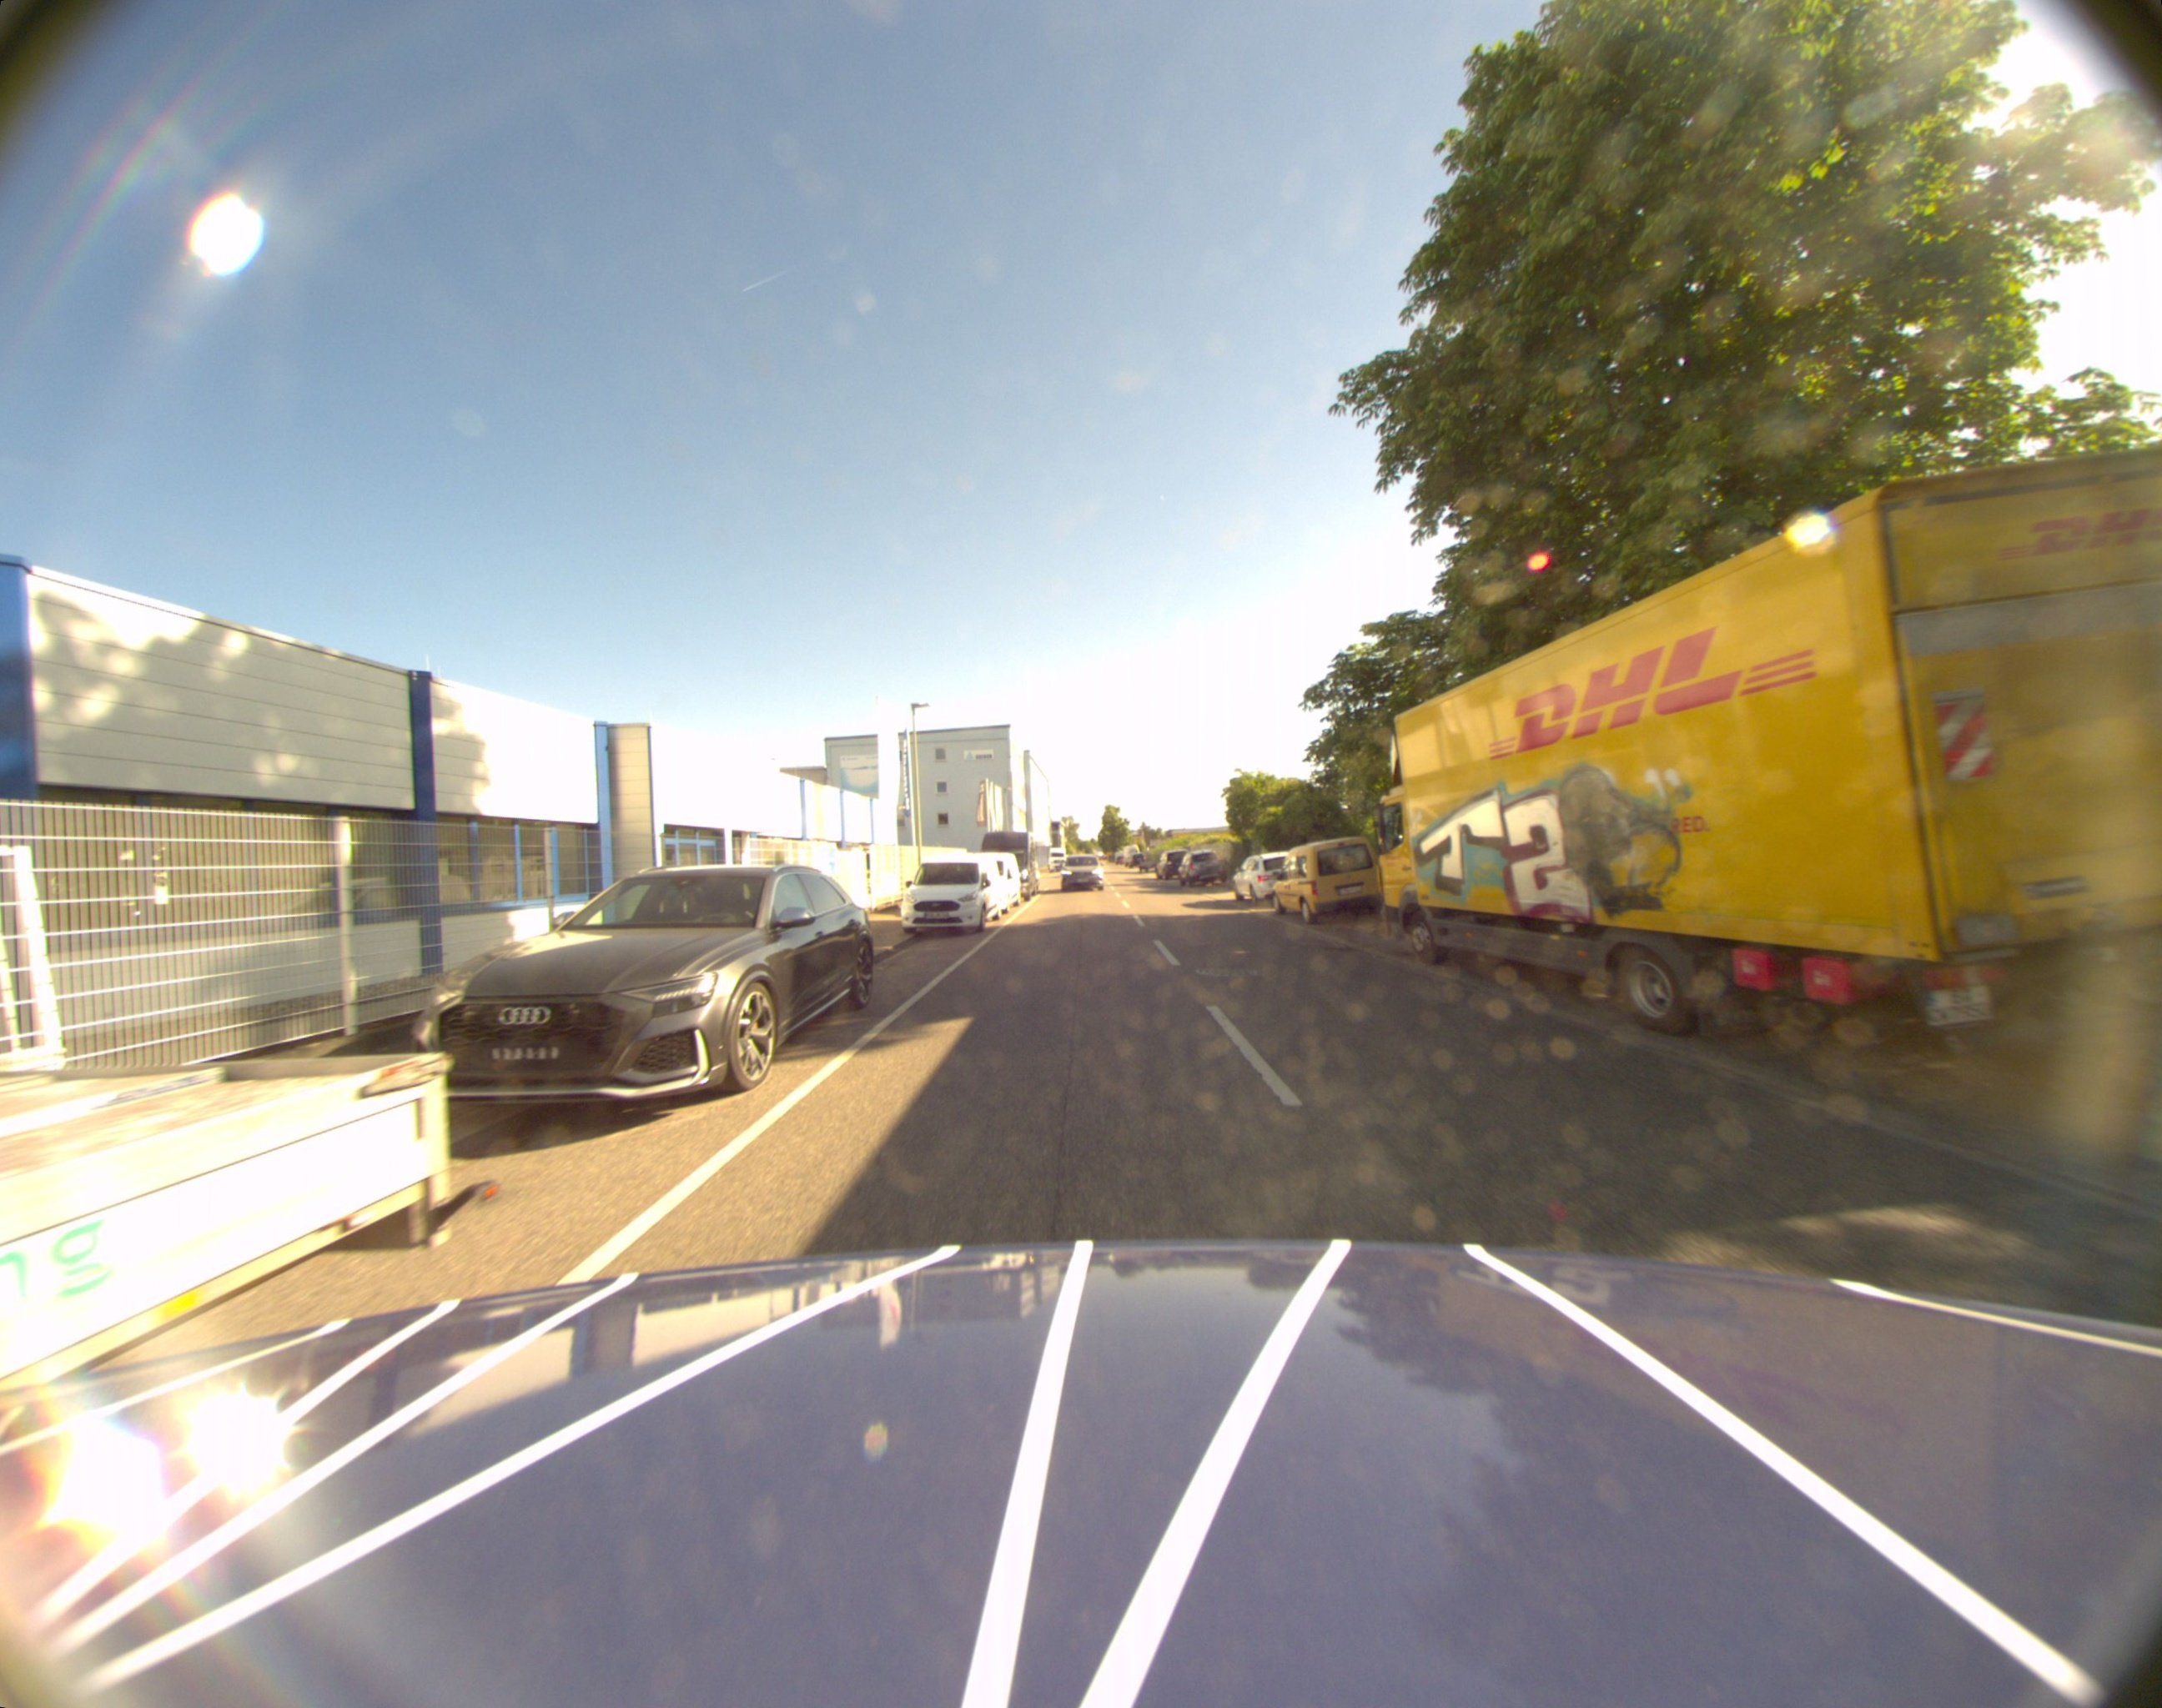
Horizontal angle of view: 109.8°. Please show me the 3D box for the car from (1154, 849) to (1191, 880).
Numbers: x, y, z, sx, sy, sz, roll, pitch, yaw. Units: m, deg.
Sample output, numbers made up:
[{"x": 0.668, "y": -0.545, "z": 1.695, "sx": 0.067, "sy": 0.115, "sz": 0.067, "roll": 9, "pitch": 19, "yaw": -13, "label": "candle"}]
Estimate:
[{"x": 5.643, "y": 0.601, "z": 47.411, "sx": 1.796, "sy": 1.720, "sz": 4.802, "roll": -4, "pitch": 0, "yaw": 2, "label": "car"}]

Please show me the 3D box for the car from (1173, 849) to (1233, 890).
[{"x": 5.890, "y": 0.720, "z": 37.208, "sx": 1.913, "sy": 1.653, "sz": 4.463, "roll": -6, "pitch": 0, "yaw": -2, "label": "car"}]

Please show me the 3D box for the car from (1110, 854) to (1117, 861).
[{"x": 9.400, "y": 1.039, "z": 221.403, "sx": 1.779, "sy": 1.838, "sz": 4.616, "roll": -4, "pitch": 0, "yaw": 4, "label": "car"}]

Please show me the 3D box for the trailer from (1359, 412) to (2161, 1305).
[{"x": 5.614, "y": -0.021, "z": 6.991, "sx": 2.999, "sy": 3.423, "sz": 8.160, "roll": -2, "pitch": 0, "yaw": 0, "label": "trailer"}]

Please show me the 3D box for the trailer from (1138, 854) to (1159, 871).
[{"x": 5.858, "y": 0.733, "z": 66.087, "sx": 1.480, "sy": 1.346, "sz": 3.078, "roll": -3, "pitch": 0, "yaw": 1, "label": "trailer"}]

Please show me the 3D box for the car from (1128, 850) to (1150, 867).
[{"x": 6.620, "y": 0.473, "z": 87.236, "sx": 2.035, "sy": 1.684, "sz": 5.106, "roll": -6, "pitch": 0, "yaw": 0, "label": "car"}]

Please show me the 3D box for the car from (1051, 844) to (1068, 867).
[{"x": -2.565, "y": 0.227, "z": 92.212, "sx": 1.999, "sy": 2.582, "sz": 6.051, "roll": 0, "pitch": -1, "yaw": 0, "label": "car"}]

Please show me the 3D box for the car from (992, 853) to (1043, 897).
[{"x": -2.950, "y": 0.920, "z": 36.170, "sx": 1.890, "sy": 1.787, "sz": 5.103, "roll": -4, "pitch": 0, "yaw": 0, "label": "car"}]

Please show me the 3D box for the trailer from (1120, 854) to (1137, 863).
[{"x": 7.403, "y": 0.671, "z": 119.196, "sx": 2.382, "sy": 1.073, "sz": 6.246, "roll": -6, "pitch": -1, "yaw": 1, "label": "trailer"}]

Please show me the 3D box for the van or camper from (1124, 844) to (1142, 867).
[{"x": 6.779, "y": 0.180, "z": 100.157, "sx": 1.971, "sy": 2.669, "sz": 5.949, "roll": -7, "pitch": 0, "yaw": 3, "label": "van or camper"}]

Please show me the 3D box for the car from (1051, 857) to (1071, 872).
[{"x": -2.069, "y": 1.057, "z": 80.516, "sx": 1.899, "sy": 1.397, "sz": 5.124, "roll": -4, "pitch": 0, "yaw": 1, "label": "car"}]

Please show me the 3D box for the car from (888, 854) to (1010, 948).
[{"x": -3.004, "y": 0.983, "z": 18.492, "sx": 1.860, "sy": 1.820, "sz": 5.168, "roll": -4, "pitch": 0, "yaw": 1, "label": "car"}]

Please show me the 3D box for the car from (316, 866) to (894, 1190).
[{"x": -3.332, "y": 1.047, "z": 6.759, "sx": 1.999, "sy": 1.657, "sz": 4.731, "roll": -4, "pitch": 0, "yaw": 1, "label": "car"}]

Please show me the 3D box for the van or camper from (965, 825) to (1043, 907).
[{"x": -2.854, "y": 0.387, "z": 29.720, "sx": 2.146, "sy": 2.743, "sz": 6.161, "roll": -4, "pitch": 1, "yaw": 1, "label": "van or camper"}]

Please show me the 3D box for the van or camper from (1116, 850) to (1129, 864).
[{"x": 8.050, "y": 0.572, "z": 149.338, "sx": 2.075, "sy": 2.534, "sz": 6.404, "roll": -6, "pitch": 0, "yaw": 1, "label": "van or camper"}]

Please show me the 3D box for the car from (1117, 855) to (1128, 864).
[{"x": 7.499, "y": 1.027, "z": 138.516, "sx": 1.804, "sy": 1.501, "sz": 5.003, "roll": -6, "pitch": 0, "yaw": 2, "label": "car"}]

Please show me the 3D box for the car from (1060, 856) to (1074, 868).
[{"x": -2.055, "y": 1.146, "z": 110.218, "sx": 1.894, "sy": 1.551, "sz": 5.090, "roll": -2, "pitch": 0, "yaw": 0, "label": "car"}]

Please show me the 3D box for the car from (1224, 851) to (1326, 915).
[{"x": 5.908, "y": 0.815, "z": 23.834, "sx": 1.912, "sy": 1.584, "sz": 5.025, "roll": -6, "pitch": 0, "yaw": 2, "label": "car"}]

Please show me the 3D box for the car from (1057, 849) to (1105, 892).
[{"x": 0.038, "y": 0.685, "z": 34.957, "sx": 1.998, "sy": 1.750, "sz": 5.015, "roll": -3, "pitch": 0, "yaw": 1, "label": "car"}]

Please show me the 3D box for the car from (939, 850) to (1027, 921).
[{"x": -2.905, "y": 0.867, "z": 23.732, "sx": 1.890, "sy": 1.836, "sz": 5.103, "roll": -4, "pitch": 0, "yaw": 1, "label": "car"}]

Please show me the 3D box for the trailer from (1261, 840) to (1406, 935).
[{"x": 5.737, "y": 0.685, "z": 17.907, "sx": 1.998, "sy": 1.930, "sz": 4.415, "roll": -1, "pitch": 0, "yaw": 1, "label": "trailer"}]
